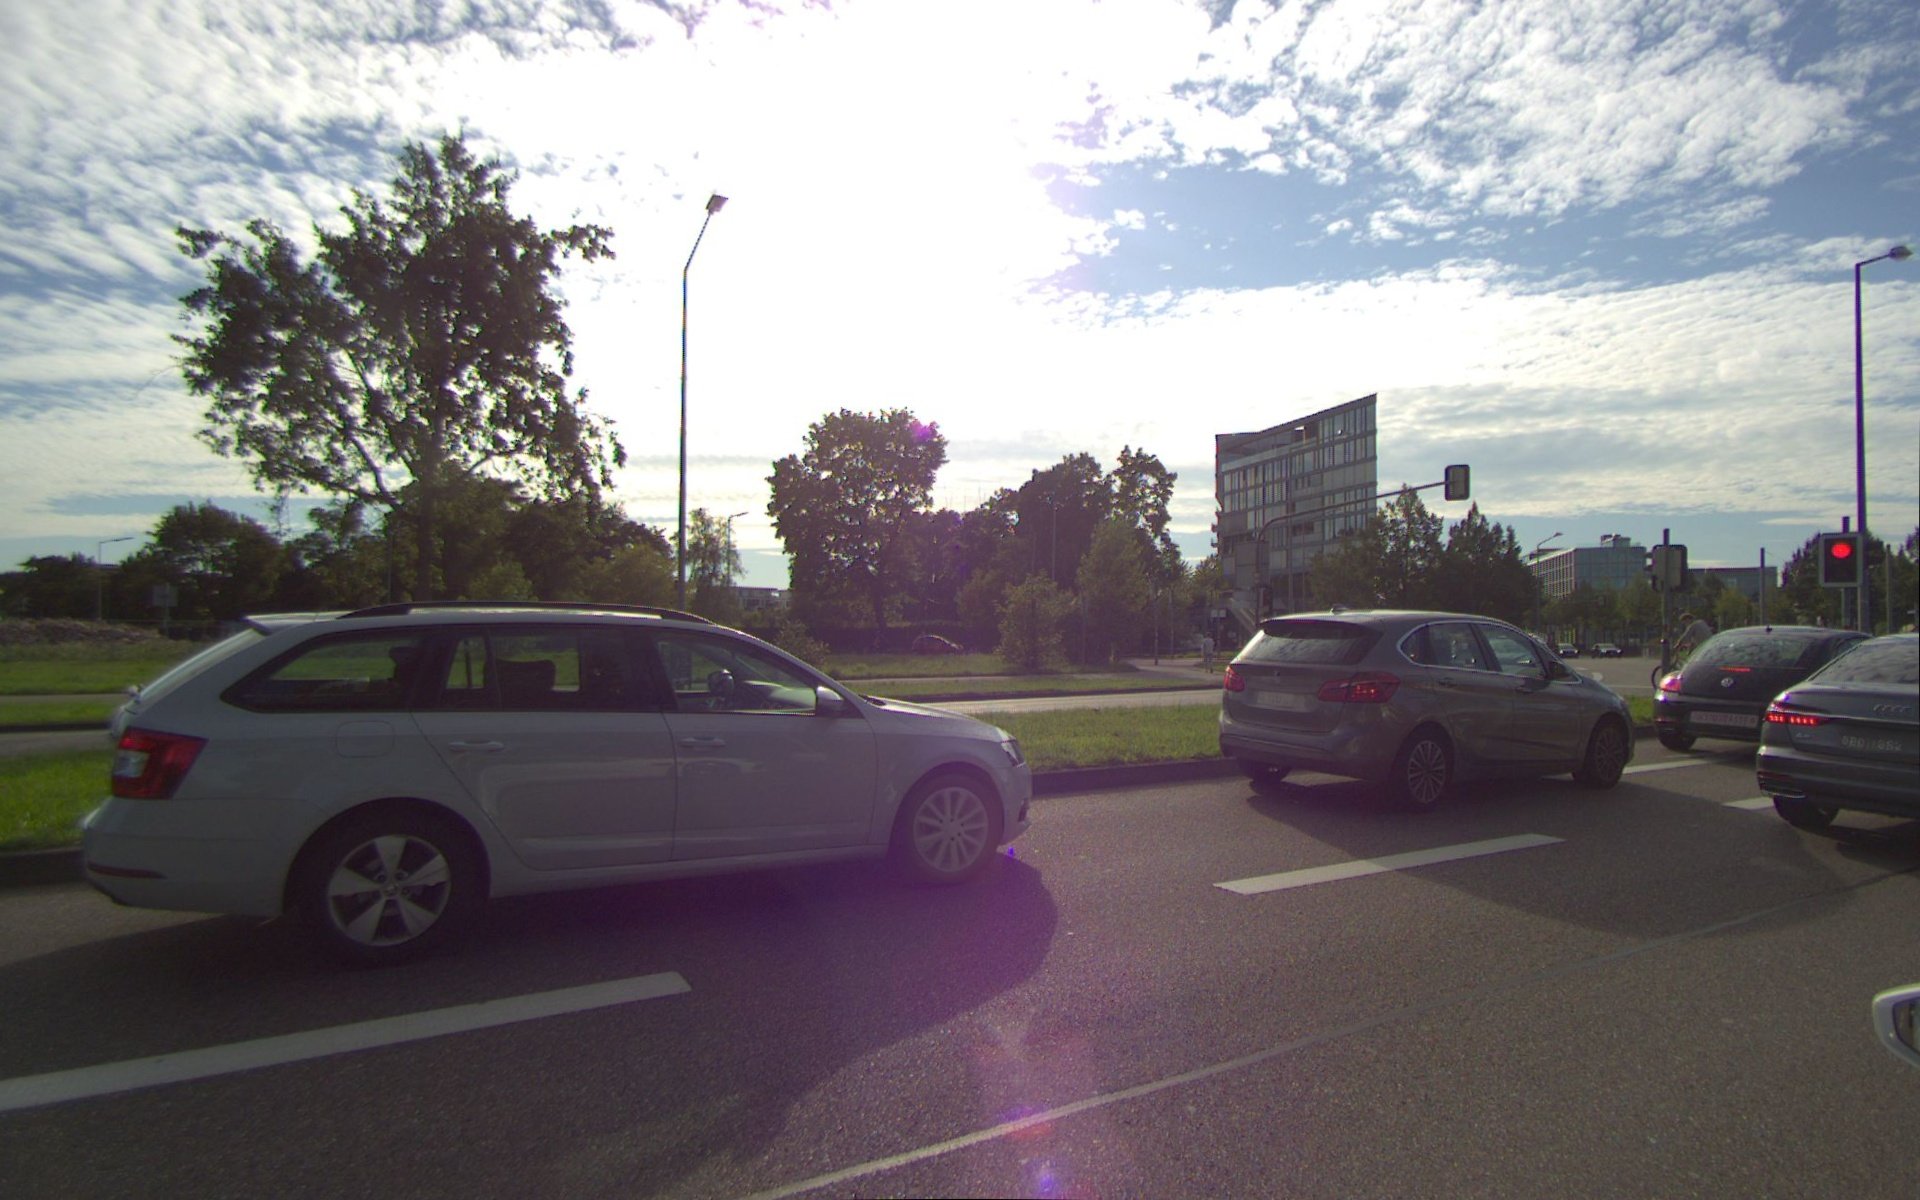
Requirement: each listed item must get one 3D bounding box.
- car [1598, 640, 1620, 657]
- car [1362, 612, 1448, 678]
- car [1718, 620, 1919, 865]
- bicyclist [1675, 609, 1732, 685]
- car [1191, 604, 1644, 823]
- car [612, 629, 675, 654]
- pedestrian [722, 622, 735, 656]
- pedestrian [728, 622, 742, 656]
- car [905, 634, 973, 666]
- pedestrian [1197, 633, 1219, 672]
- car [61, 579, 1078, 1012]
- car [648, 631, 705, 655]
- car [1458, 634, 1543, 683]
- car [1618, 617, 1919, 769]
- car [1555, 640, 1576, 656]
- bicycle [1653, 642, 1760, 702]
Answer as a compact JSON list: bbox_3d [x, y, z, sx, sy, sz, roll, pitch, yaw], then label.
[{"bbox_3d":[61.330,4.599,95.014,1.592,1.484,3.723,-1,-2,31],"label":"car"},{"bbox_3d":[16.611,1.690,37.322,1.966,2.264,5.910,-2,-4,33],"label":"car"},{"bbox_3d":[7.835,0.954,7.498,4.559,1.502,1.881,2,-1,-31],"label":"car"},{"bbox_3d":[15.408,0.970,20.821,0.840,1.546,0.736,-1,-2,44],"label":"bicyclist"},{"bbox_3d":[4.157,0.871,9.002,3.971,1.579,1.721,2,-1,-30],"label":"car"},{"bbox_3d":[-23.780,3.113,75.605,4.045,1.770,2.002,0,-2,10],"label":"car"},{"bbox_3d":[-13.906,2.331,60.277,0.675,2.040,0.641,0,-2,-5],"label":"pedestrian"},{"bbox_3d":[-13.695,2.391,61.286,0.723,2.040,0.739,0,-2,-5],"label":"pedestrian"},{"bbox_3d":[-1.333,3.135,63.521,3.919,1.793,1.712,2,-1,13],"label":"car"},{"bbox_3d":[10.277,2.178,41.566,0.609,1.589,0.651,2,-2,-34],"label":"pedestrian"},{"bbox_3d":[-1.651,0.755,5.397,4.429,1.518,1.690,2,-1,-31],"label":"car"},{"bbox_3d":[-19.473,2.934,69.057,3.431,1.613,1.594,0,-2,17],"label":"car"},{"bbox_3d":[17.553,1.912,32.519,1.876,1.428,4.194,-4,-5,35],"label":"car"},{"bbox_3d":[9.784,1.012,12.054,3.766,1.543,1.672,1,-1,-31],"label":"car"},{"bbox_3d":[58.575,4.688,97.118,1.570,1.433,3.662,-3,-5,33],"label":"car"},{"bbox_3d":[15.422,1.465,20.787,1.707,1.179,0.652,-1,-2,45],"label":"bicycle"}]
